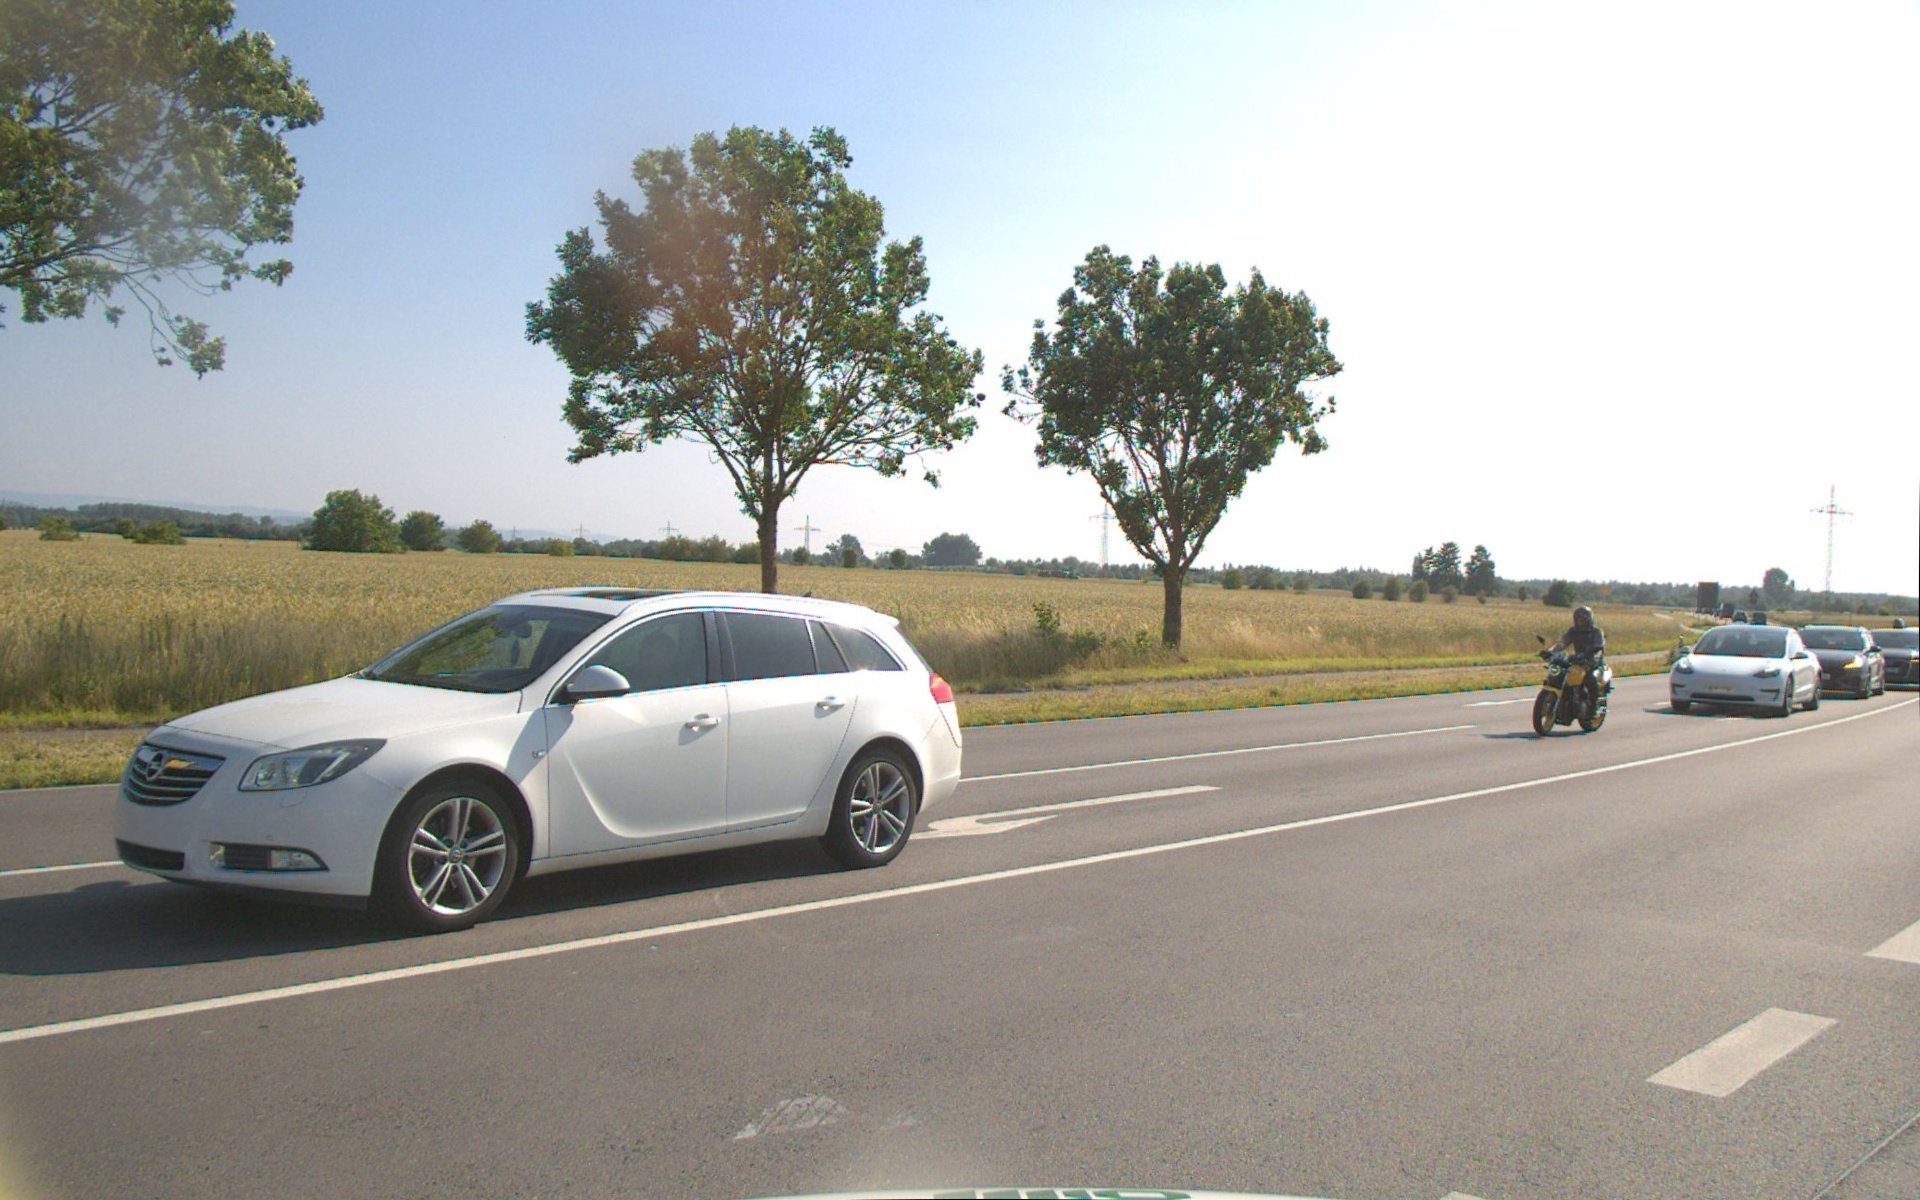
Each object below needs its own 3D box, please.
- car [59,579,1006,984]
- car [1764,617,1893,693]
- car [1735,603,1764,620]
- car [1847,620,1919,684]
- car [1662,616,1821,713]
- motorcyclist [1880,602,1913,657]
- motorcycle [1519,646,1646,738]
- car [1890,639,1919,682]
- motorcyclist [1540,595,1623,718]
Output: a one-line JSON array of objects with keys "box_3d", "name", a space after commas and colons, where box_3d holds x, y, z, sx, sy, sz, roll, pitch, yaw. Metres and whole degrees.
[{"box_3d": [-1.882, 0.715, 8.669, 1.732, 1.518, 4.684, 1, 0, 39], "name": "car"}, {"box_3d": [18.938, 1.165, 35.977, 1.859, 1.486, 4.289, 2, 0, 36], "name": "car"}, {"box_3d": [101.491, 1.436, 212.624, 1.801, 1.864, 4.471, 5, 2, 5], "name": "car"}, {"box_3d": [23.785, 1.291, 41.538, 1.860, 1.461, 4.775, 2, 0, 38], "name": "car"}, {"box_3d": [13.546, 1.044, 28.548, 1.857, 1.492, 4.262, 1, 0, 34], "name": "car"}, {"box_3d": [26.192, 0.818, 46.252, 0.666, 1.521, 0.844, 2, 0, 36], "name": "motorcyclist"}, {"box_3d": [8.153, 1.164, 21.600, 0.882, 1.062, 2.418, 2, 1, 37], "name": "motorcycle"}, {"box_3d": [33.754, 2.102, 57.939, 1.658, 1.428, 3.986, 1, 0, 35], "name": "car"}, {"box_3d": [8.102, 0.714, 21.539, 0.668, 1.542, 1.176, 2, 0, 38], "name": "motorcyclist"}]
